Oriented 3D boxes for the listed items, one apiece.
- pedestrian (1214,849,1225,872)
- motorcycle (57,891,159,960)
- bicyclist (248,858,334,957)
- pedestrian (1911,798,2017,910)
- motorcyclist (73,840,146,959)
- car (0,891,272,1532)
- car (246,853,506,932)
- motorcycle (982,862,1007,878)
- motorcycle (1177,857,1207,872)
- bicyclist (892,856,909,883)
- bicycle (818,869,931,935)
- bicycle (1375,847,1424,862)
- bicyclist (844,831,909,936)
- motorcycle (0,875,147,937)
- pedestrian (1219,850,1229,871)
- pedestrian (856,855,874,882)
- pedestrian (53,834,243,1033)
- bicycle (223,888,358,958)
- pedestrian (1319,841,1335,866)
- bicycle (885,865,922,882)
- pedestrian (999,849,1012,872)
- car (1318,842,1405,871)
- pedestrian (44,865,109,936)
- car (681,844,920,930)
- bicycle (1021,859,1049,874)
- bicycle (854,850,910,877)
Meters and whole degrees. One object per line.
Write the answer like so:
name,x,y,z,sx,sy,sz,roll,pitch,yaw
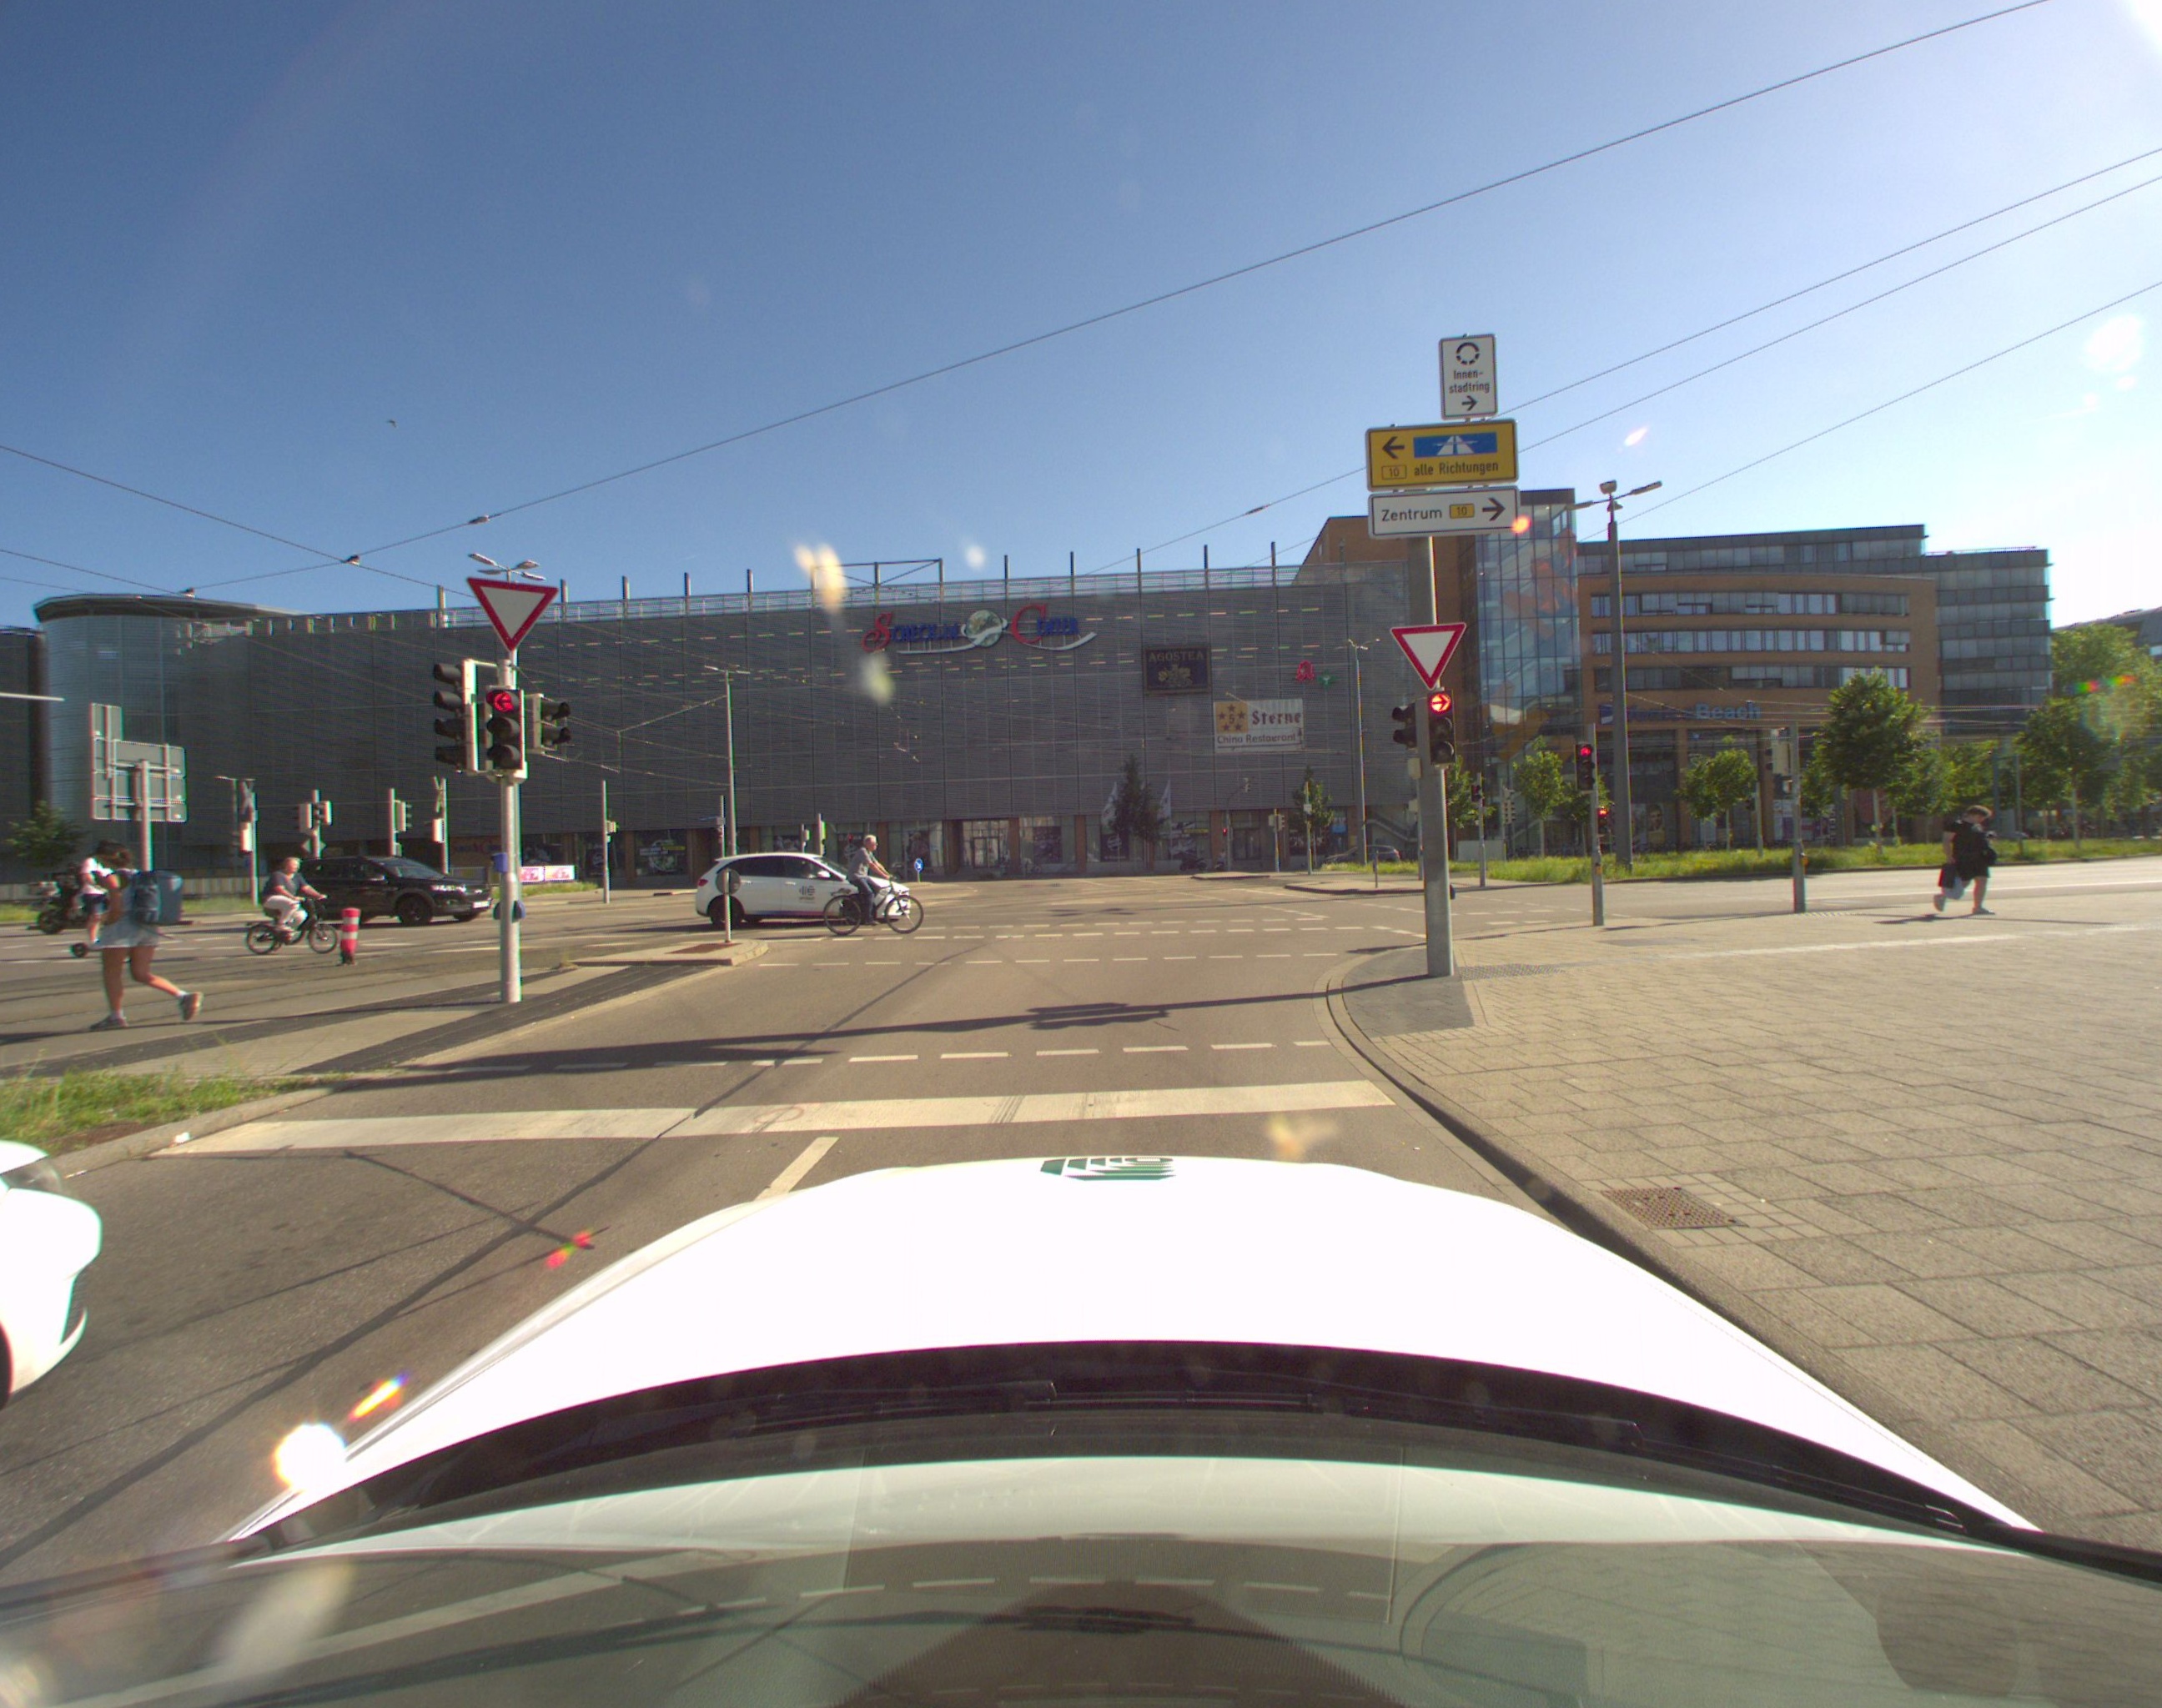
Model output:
pedestrian,9.534,0.435,56.032,0.587,1.535,0.658,-2,0,1
motorcycle,-16.933,1.235,14.179,1.182,1.121,0.483,-2,0,1
bicyclist,-13.738,0.915,14.181,0.780,1.648,0.690,-2,0,0
pedestrian,13.979,-0.003,12.915,0.803,1.708,0.762,-2,0,1
motorcyclist,-16.901,0.777,14.176,0.625,2.013,0.498,-2,0,2
car,-3.312,0.819,0.554,1.626,1.423,3.784,1,0,2
car,-17.116,0.890,19.953,4.622,1.718,1.838,-1,1,-2
motorcycle,-6.071,1.131,57.220,1.641,1.059,0.499,-2,0,11
motorcycle,8.447,0.781,61.927,2.194,1.042,1.062,-1,0,2
bicyclist,-12.486,1.052,56.319,0.849,1.803,0.806,-1,0,-40
bicycle,-3.776,0.863,14.992,1.822,1.116,0.854,-2,0,2
bicycle,24.208,0.027,61.998,3.342,1.077,1.119,-1,0,8
bicyclist,-3.752,0.528,14.993,0.898,1.859,0.855,-2,0,2
motorcycle,-24.516,1.249,19.847,2.435,1.419,0.915,-1,0,0
pedestrian,9.944,0.462,56.707,0.587,1.462,0.658,-2,0,1
pedestrian,-15.059,1.028,56.801,0.894,1.868,0.826,-2,0,44
pedestrian,-8.507,0.695,7.458,0.882,1.707,0.713,-2,0,1
bicycle,-13.664,1.186,14.114,1.571,1.107,0.734,-2,0,-1
pedestrian,17.589,-0.007,58.250,0.852,1.738,0.752,-2,0,-5
bicycle,-12.318,1.363,56.507,2.256,1.070,1.034,-2,0,-39
pedestrian,-5.743,0.484,61.677,0.845,1.763,0.620,-2,0,1
car,16.046,0.141,46.673,4.470,1.495,1.495,-2,0,1
pedestrian,-24.417,1.112,19.811,0.741,1.677,0.665,-1,0,1
car,-5.930,0.665,17.654,4.478,1.635,1.837,-2,1,-3
bicycle,-3.488,0.935,61.909,2.019,1.059,1.145,-2,0,1
bicycle,-15.426,0.764,63.303,3.971,2.013,1.331,-1,0,2
